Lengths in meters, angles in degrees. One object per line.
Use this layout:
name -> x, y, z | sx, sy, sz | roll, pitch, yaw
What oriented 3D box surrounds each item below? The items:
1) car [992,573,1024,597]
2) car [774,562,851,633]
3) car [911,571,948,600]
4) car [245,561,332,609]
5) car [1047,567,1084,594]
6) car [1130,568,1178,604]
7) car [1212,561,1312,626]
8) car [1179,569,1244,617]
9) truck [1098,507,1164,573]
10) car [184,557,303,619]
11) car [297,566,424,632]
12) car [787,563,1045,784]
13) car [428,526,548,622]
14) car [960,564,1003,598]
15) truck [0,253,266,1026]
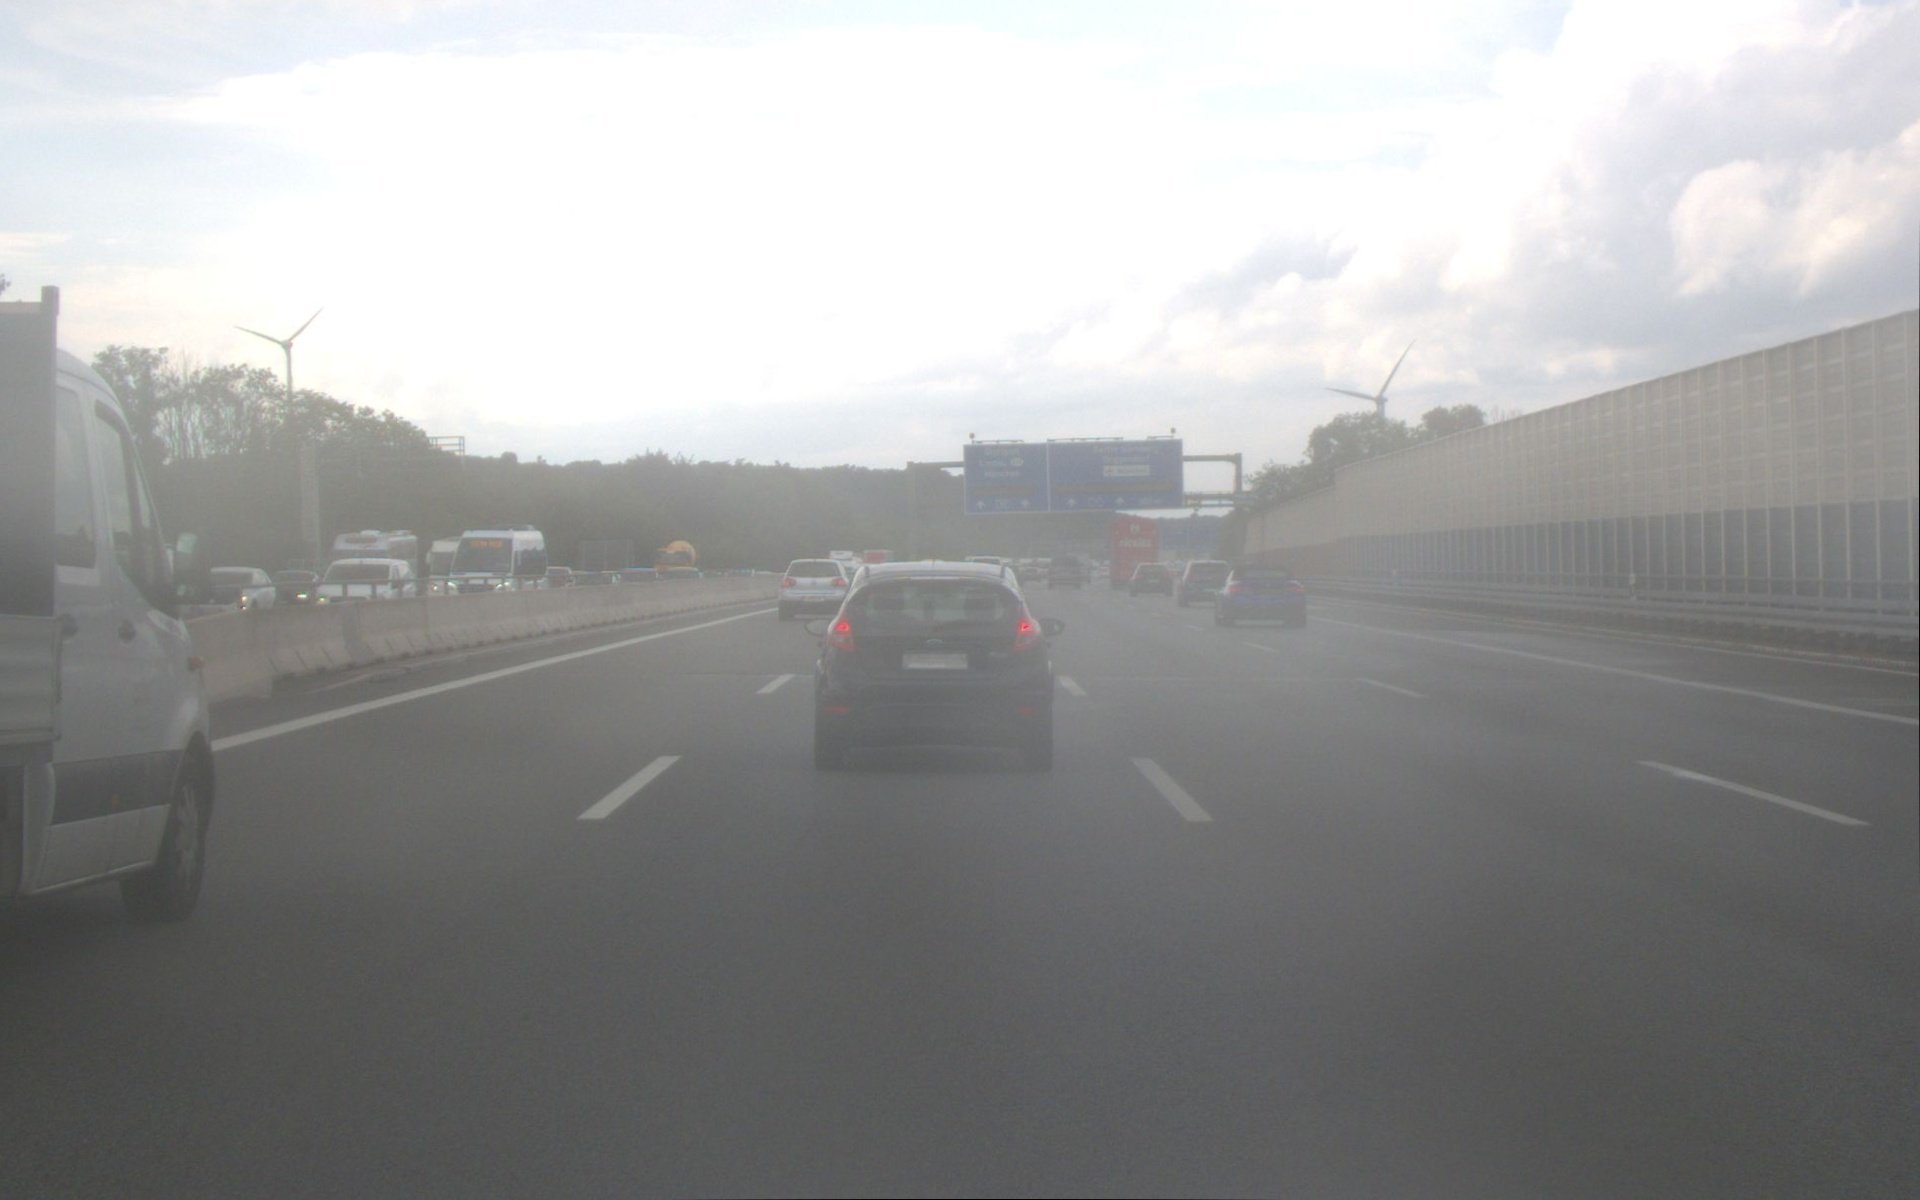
car -> 3.146, -0.992, 224.992 | 1.968, 1.555, 4.433 | -1, 0, -1
car -> -3.562, -0.089, 83.651 | 1.717, 1.618, 4.279 | 0, 1, -1
car -> -1.697, -0.813, 191.371 | 1.968, 1.555, 4.433 | -1, 0, 0
car -> -21.511, -0.478, 110.330 | 1.723, 1.459, 4.519 | 1, 0, 2
car -> 6.049, -1.107, 197.180 | 1.968, 1.555, 4.433 | -1, 0, 0
car -> 8.534, -0.625, 151.653 | 1.882, 1.555, 4.433 | -1, 0, 0
car -> 6.786, -0.163, 77.556 | 1.950, 1.413, 4.232 | 0, 0, 1
car -> 8.295, -0.242, 113.689 | 1.882, 1.537, 4.433 | -1, 0, 1
truck -> 9.763, -3.441, 197.387 | 3.152, 3.589, 12.700 | 1, 1, 0
car -> -18.059, -0.317, 86.820 | 2.060, 1.529, 4.519 | 0, 1, 0
car -> -14.276, -0.050, 82.201 | 2.060, 1.529, 5.470 | 0, 1, 0
car -> -0.317, 0.468, 25.026 | 1.717, 1.412, 4.279 | 0, 1, -1
car -> -14.427, -0.862, 105.606 | 2.231, 2.740, 9.164 | 0, 2, 1
car -> 1.012, -0.877, 161.591 | 1.968, 1.555, 4.433 | -1, 0, 0
truck -> -4.216, 0.090, 12.135 | 2.306, 2.431, 7.149 | 0, 1, -2
